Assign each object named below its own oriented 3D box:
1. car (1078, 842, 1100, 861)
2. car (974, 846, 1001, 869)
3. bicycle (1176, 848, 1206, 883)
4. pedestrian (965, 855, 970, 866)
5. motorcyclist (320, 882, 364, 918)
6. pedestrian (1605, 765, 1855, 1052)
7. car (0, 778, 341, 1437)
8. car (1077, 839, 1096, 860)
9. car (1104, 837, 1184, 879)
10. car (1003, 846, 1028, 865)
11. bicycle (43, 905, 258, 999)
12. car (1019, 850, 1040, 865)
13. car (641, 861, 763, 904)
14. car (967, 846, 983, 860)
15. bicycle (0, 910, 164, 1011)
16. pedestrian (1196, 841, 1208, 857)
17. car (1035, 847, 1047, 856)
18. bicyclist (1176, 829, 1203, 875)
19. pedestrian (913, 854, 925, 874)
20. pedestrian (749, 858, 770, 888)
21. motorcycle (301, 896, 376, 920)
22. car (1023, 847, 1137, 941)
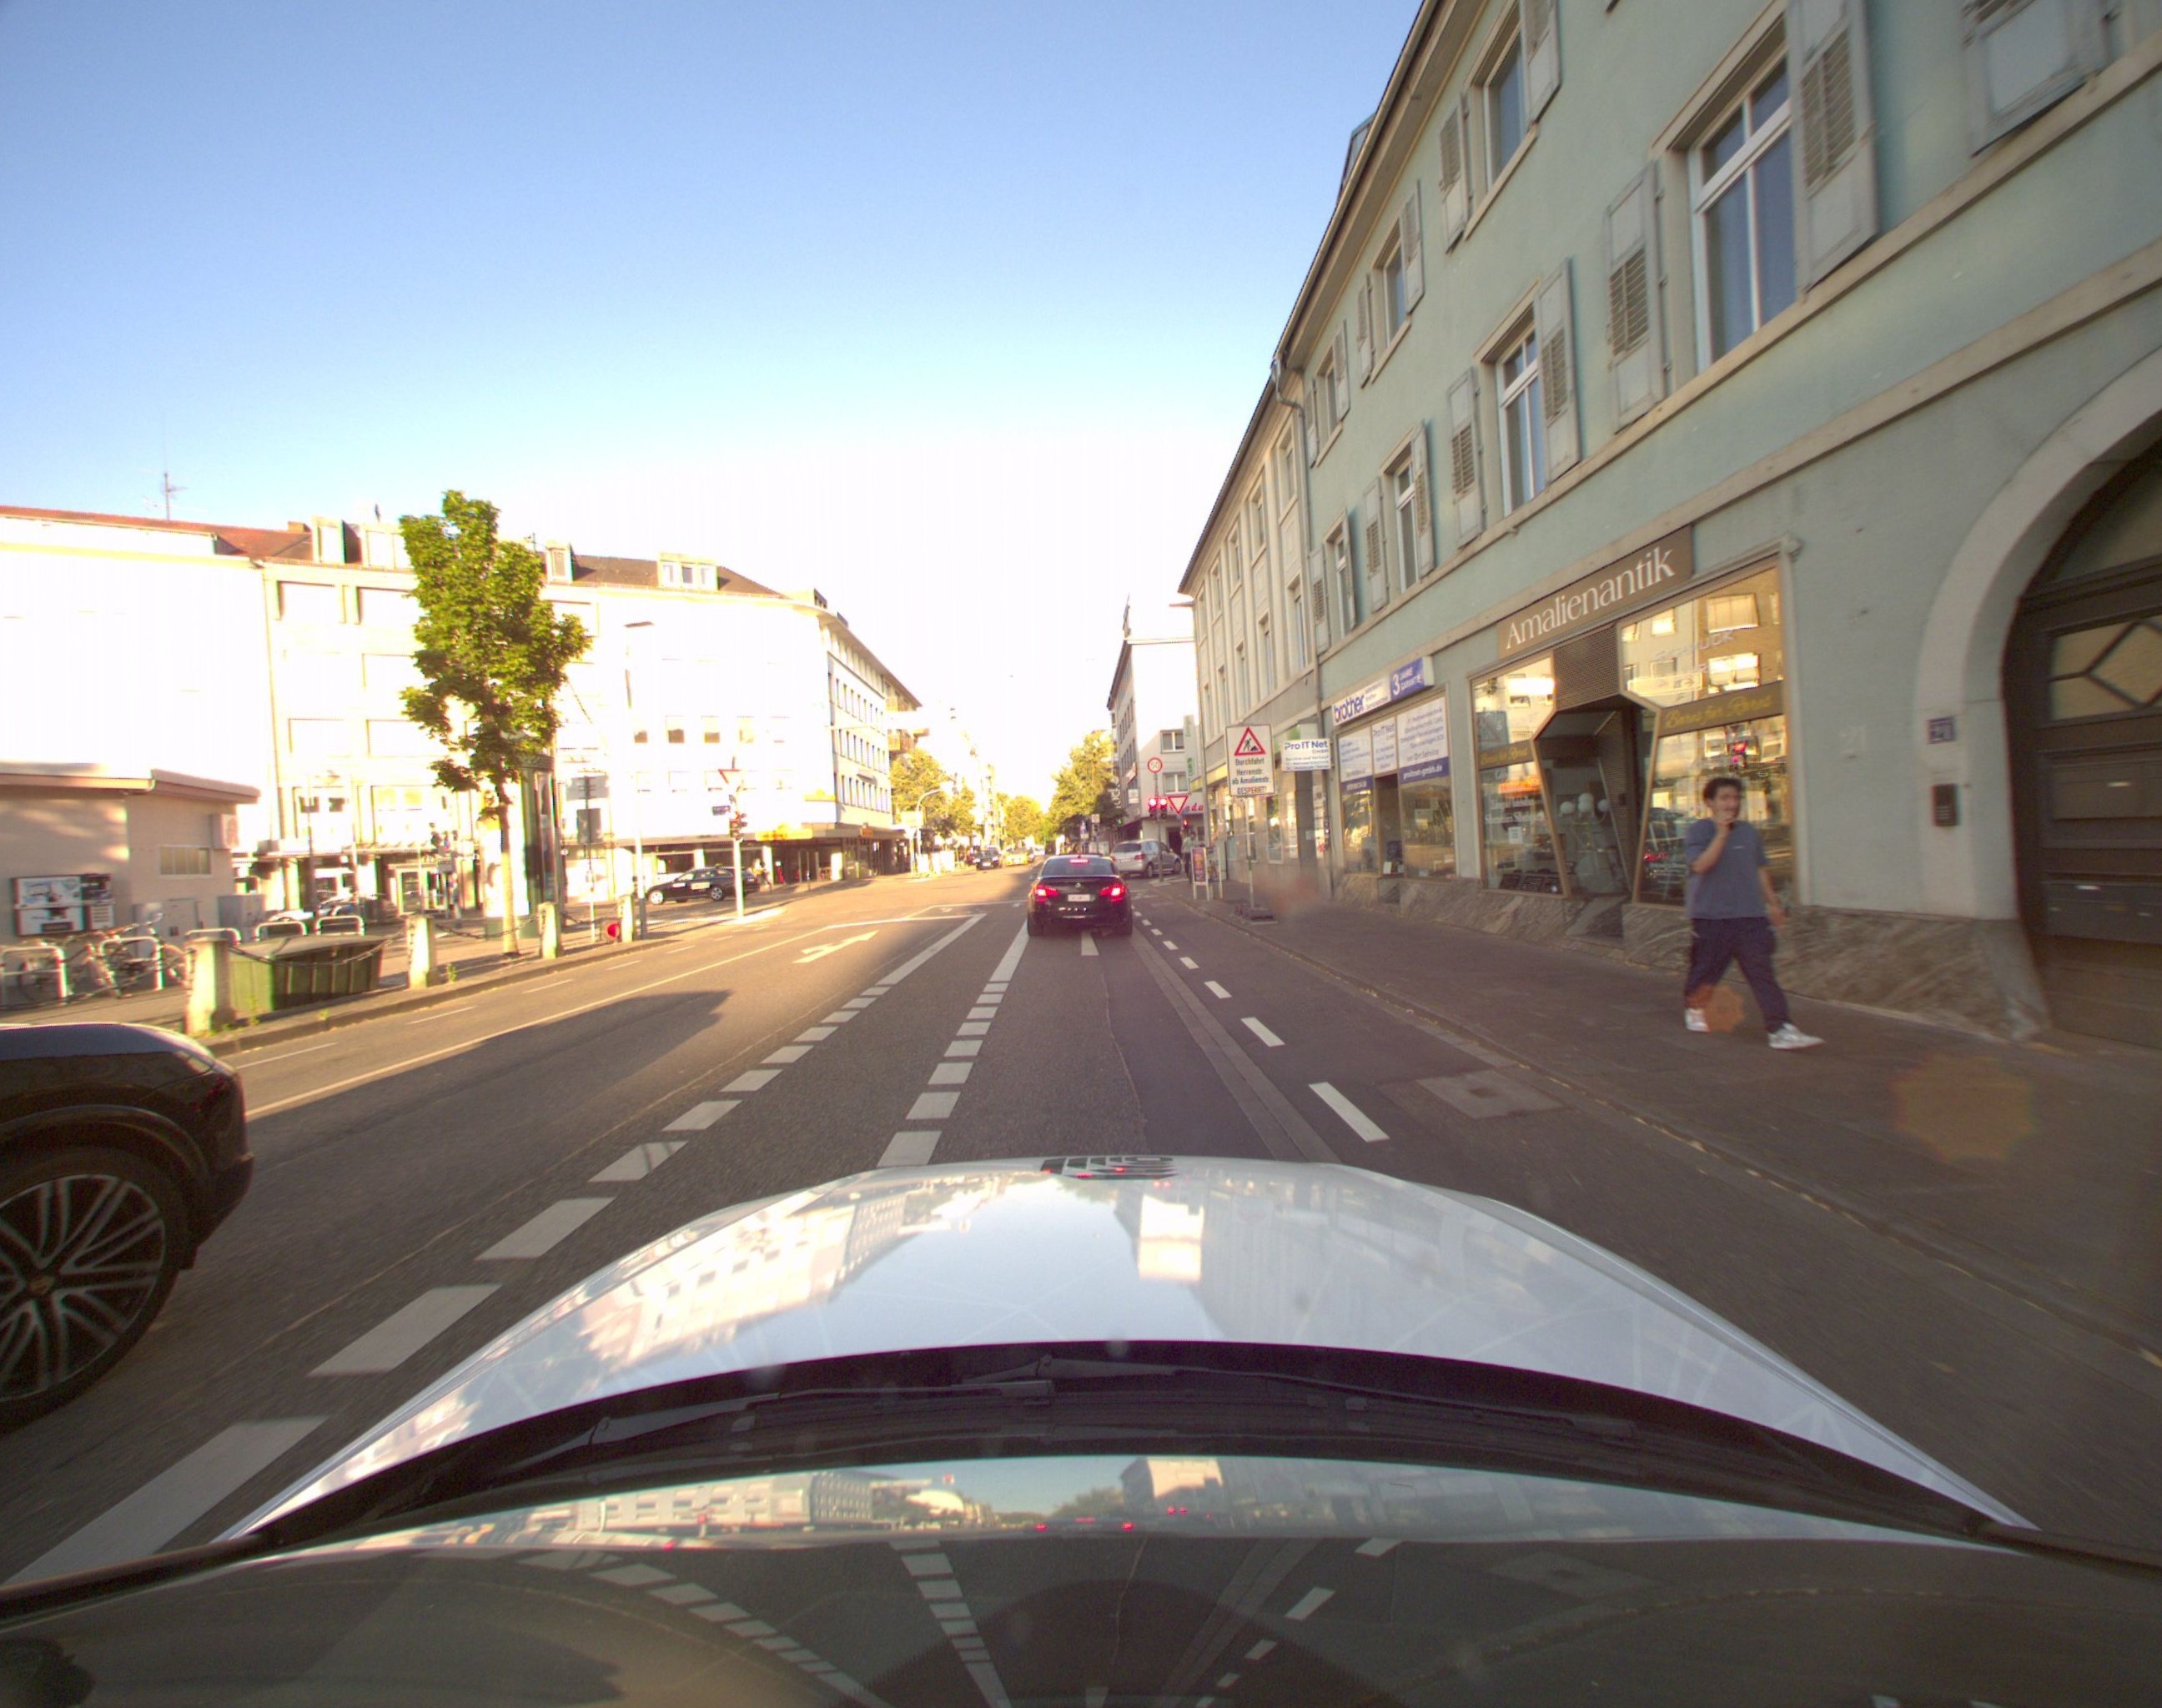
[{"bbox_3d":[0.655,-0.170,67.234,1.621,1.471,3.393,-2,0,-2],"label":"car"},{"bbox_3d":[-7.418,0.258,64.791,1.992,1.618,3.991,-3,1,-7],"label":"car"},{"bbox_3d":[3.749,0.385,27.856,0.688,1.107,1.896,-3,1,0],"label":"bicycle"},{"bbox_3d":[-14.835,0.835,106.658,0.443,1.416,0.525,-4,0,-4],"label":"pedestrian"},{"bbox_3d":[-29.076,1.800,32.074,0.994,1.319,0.763,-3,1,-18],"label":"motorcyclist"},{"bbox_3d":[4.103,0.312,5.226,0.821,1.641,0.870,-3,0,-3],"label":"pedestrian"},{"bbox_3d":[-3.814,0.737,0.768,1.943,1.714,4.561,-4,1,0],"label":"car"},{"bbox_3d":[0.500,-0.393,73.633,1.418,1.854,3.048,-2,0,-4],"label":"car"},{"bbox_3d":[2.766,0.124,35.010,1.815,1.575,4.126,-3,1,29],"label":"car"},{"bbox_3d":[-5.696,0.097,70.277,1.992,1.442,3.991,-3,1,-7],"label":"car"},{"bbox_3d":[-14.800,1.539,13.002,2.435,1.256,0.787,-4,0,0],"label":"bicycle"},{"bbox_3d":[-4.892,0.272,77.059,1.732,1.293,3.991,-3,1,-7],"label":"car"},{"bbox_3d":[-16.431,1.217,35.423,4.408,1.595,1.884,-3,1,10],"label":"car"},{"bbox_3d":[-11.910,-0.079,91.592,1.732,1.461,3.991,-3,1,-7],"label":"car"},{"bbox_3d":[-14.878,1.546,11.803,1.999,1.256,0.949,-4,0,0],"label":"bicycle"},{"bbox_3d":[8.747,-0.373,58.963,0.695,1.157,0.843,-3,0,-3],"label":"pedestrian"},{"bbox_3d":[-6.734,-0.439,136.300,1.732,1.293,3.991,-3,1,-7],"label":"car"},{"bbox_3d":[3.712,-0.059,27.857,0.719,1.507,0.900,-3,0,0],"label":"bicyclist"},{"bbox_3d":[-14.342,0.895,72.041,0.821,1.676,0.871,-3,0,-2],"label":"pedestrian"},{"bbox_3d":[-17.731,1.040,44.879,0.950,1.537,0.901,-3,0,-25],"label":"pedestrian"},{"bbox_3d":[-29.164,2.110,32.027,2.032,0.780,0.659,-3,1,-19],"label":"motorcycle"},{"bbox_3d":[-0.089,0.650,15.908,1.899,1.540,4.446,-1,1,-2],"label":"car"}]
